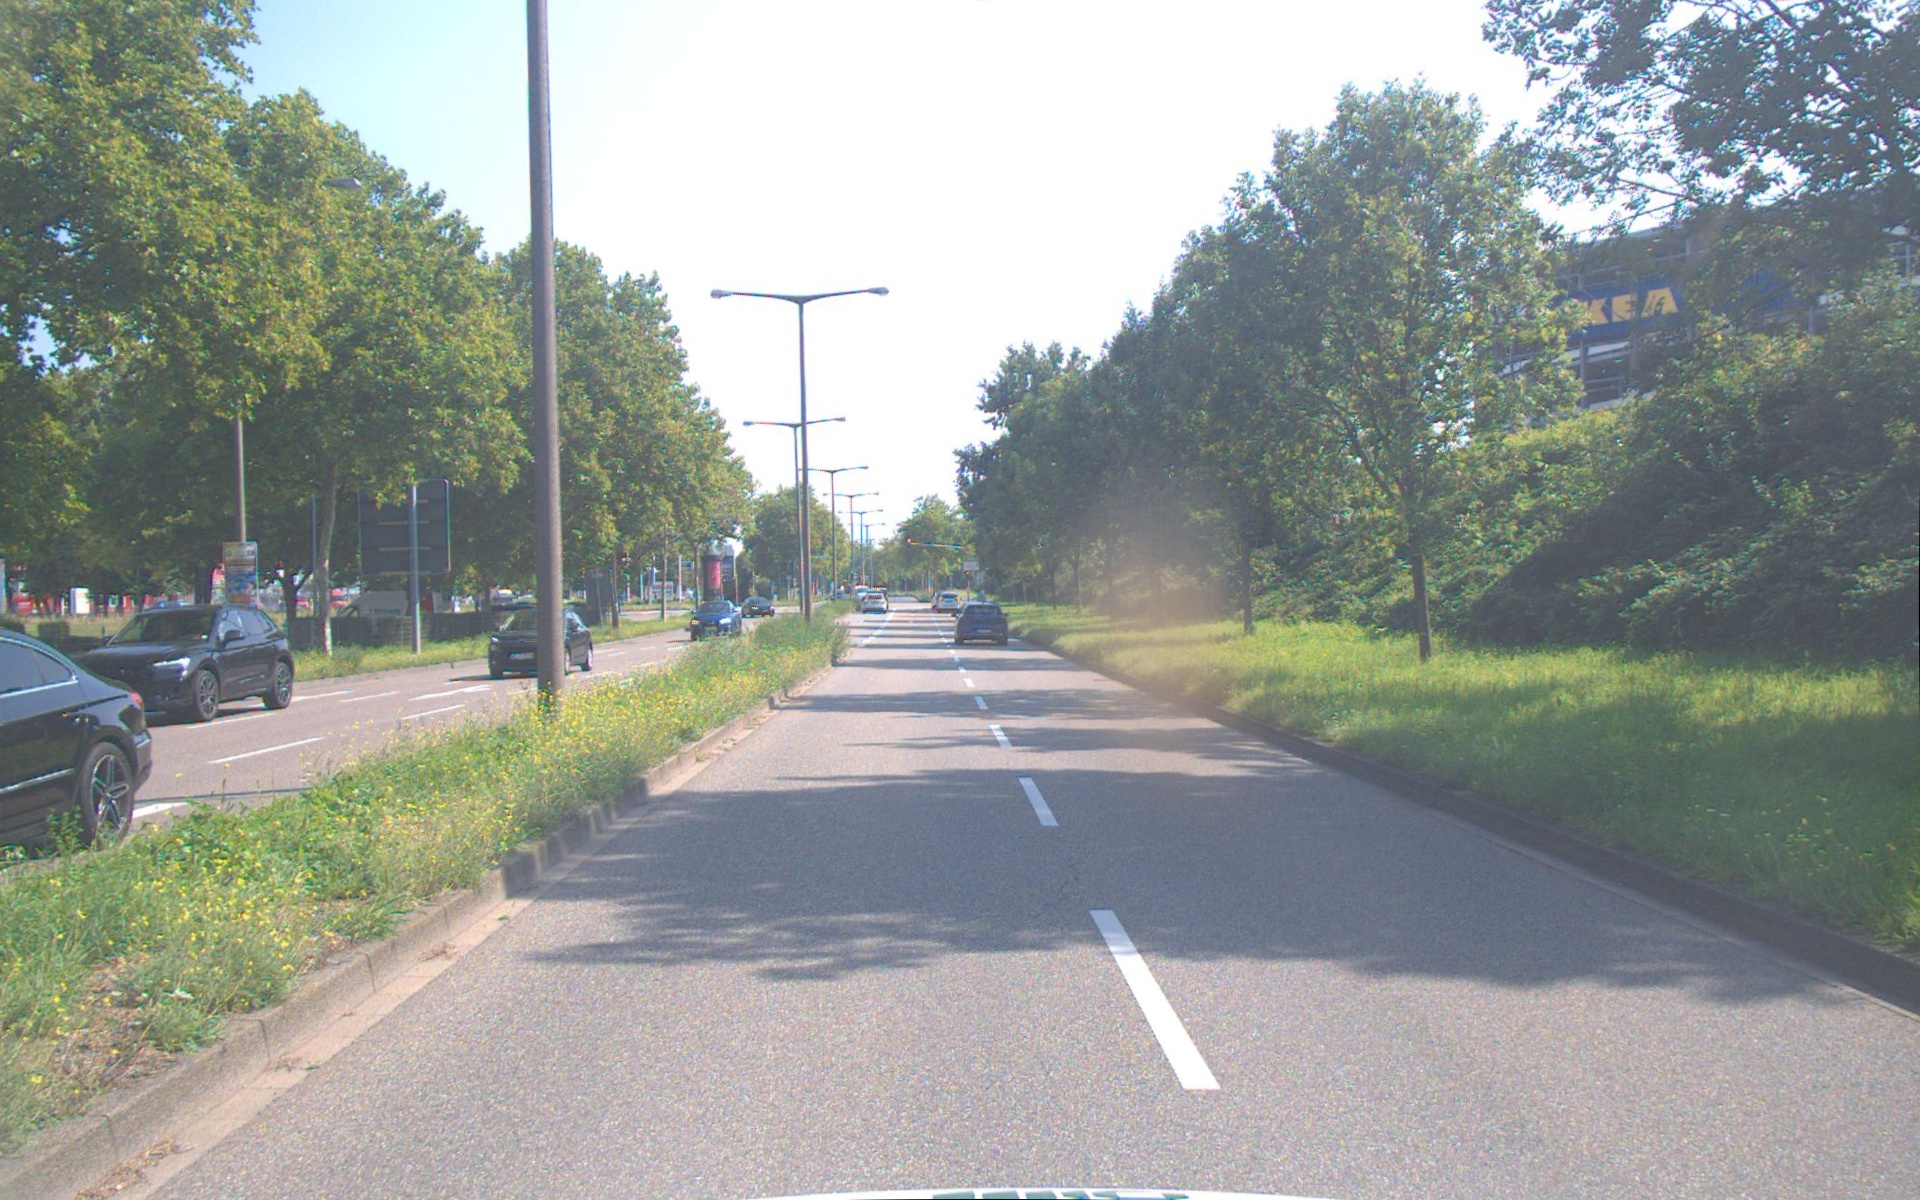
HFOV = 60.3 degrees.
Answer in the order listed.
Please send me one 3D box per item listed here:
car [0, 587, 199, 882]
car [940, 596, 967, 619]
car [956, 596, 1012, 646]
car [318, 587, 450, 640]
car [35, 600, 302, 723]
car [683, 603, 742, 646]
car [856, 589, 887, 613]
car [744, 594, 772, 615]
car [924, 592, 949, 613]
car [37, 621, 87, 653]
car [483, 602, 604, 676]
[{"bbox_3d":[-5.873,0.734,8.463,1.808,1.516,4.642,-3,0,-1],"label":"car"},{"bbox_3d":[-0.497,0.573,128.051,1.953,1.683,3.998,-2,0,-2],"label":"car"},{"bbox_3d":[0.792,0.685,56.492,1.744,1.452,4.000,0,3,-2],"label":"car"},{"bbox_3d":[-27.426,0.612,78.878,5.473,2.377,2.278,0,2,-3],"label":"car"},{"bbox_3d":[-11.545,0.864,24.518,1.808,1.633,4.609,-1,-1,-1],"label":"car"},{"bbox_3d":[-10.240,0.985,68.684,1.954,1.612,4.343,-4,0,-4],"label":"car"},{"bbox_3d":[-6.594,0.081,123.436,1.952,1.731,4.000,-2,0,1],"label":"car"},{"bbox_3d":[-15.011,0.315,122.910,1.760,1.441,4.406,-3,0,-4],"label":"car"},{"bbox_3d":[-2.090,0.208,145.747,1.954,1.682,3.998,1,2,-3],"label":"car"},{"bbox_3d":[-50.016,2.036,92.107,1.912,1.477,3.948,-1,3,-37],"label":"car"},{"bbox_3d":[-9.299,0.831,37.282,1.670,1.516,4.311,-1,0,-1],"label":"car"}]
